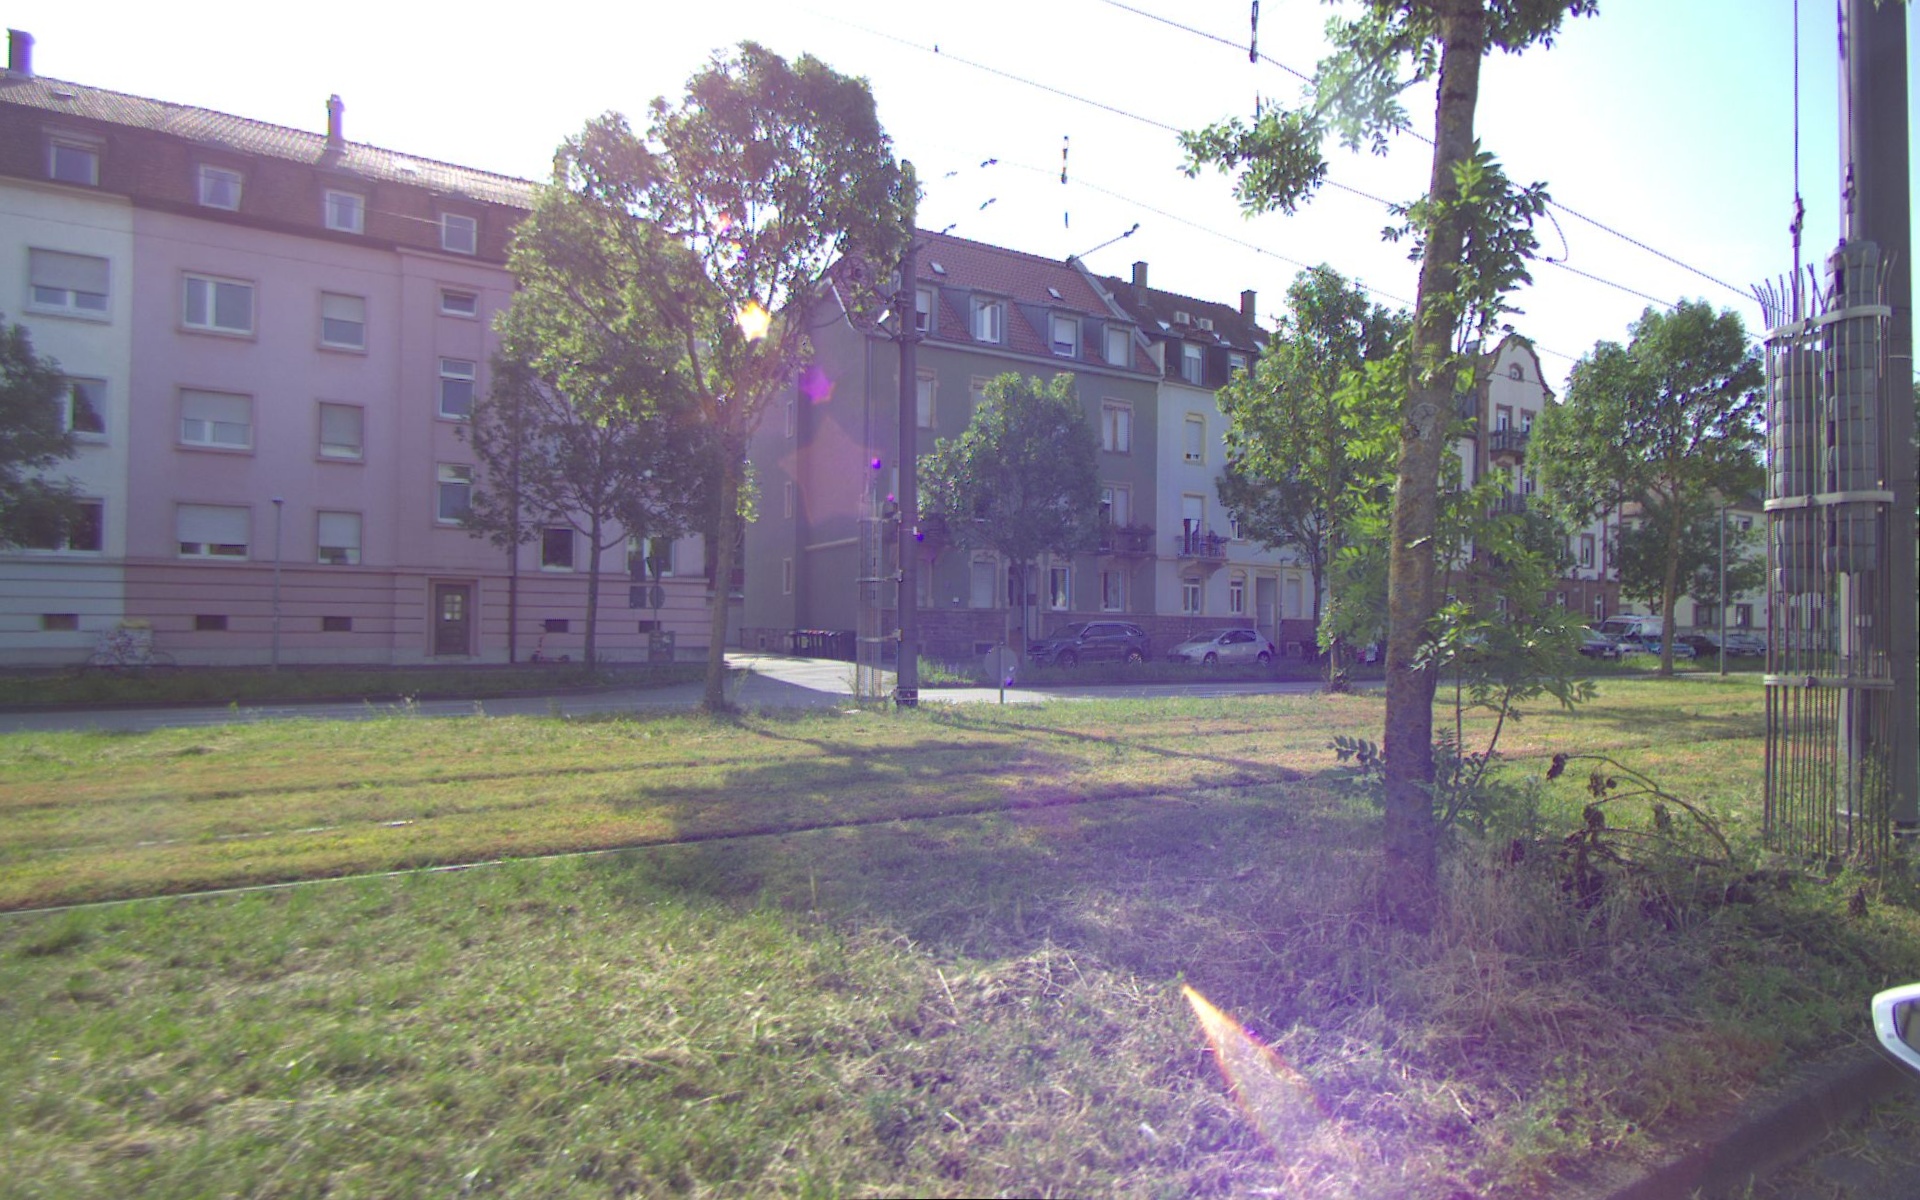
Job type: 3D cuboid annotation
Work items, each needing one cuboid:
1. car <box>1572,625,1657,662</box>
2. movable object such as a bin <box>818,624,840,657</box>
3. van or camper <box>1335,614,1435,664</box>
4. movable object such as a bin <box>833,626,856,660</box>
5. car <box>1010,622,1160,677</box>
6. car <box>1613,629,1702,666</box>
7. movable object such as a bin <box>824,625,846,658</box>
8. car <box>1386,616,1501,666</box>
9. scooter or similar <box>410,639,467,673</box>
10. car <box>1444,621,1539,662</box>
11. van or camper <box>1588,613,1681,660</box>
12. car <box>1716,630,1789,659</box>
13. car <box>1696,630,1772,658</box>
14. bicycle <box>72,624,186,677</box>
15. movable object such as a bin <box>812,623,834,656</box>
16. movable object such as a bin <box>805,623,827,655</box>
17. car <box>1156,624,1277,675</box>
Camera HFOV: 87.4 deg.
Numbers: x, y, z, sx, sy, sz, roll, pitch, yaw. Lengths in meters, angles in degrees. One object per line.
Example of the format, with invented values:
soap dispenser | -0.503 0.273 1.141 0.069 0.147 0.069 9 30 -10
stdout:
car | 30.257 1.976 46.582 1.545 1.436 4.002 2 0 5
movable object such as a bin | -4.997 1.541 38.284 0.633 1.227 0.582 2 1 -31
van or camper | 16.216 1.451 38.629 1.962 1.645 4.852 2 0 3
movable object such as a bin | -4.263 1.577 37.141 0.633 1.227 0.582 2 1 -31
car | 4.180 1.612 33.301 4.721 1.650 1.983 2 1 -32
car | 32.662 2.188 47.149 1.545 1.436 4.001 2 0 4
movable object such as a bin | -4.700 1.556 37.729 0.633 1.227 0.582 2 1 -31
car | 18.855 1.529 39.463 2.016 1.645 5.222 2 0 1
scooter or similar | -13.535 1.455 26.080 1.202 0.823 0.603 2 1 -19
car | 21.623 1.647 41.085 1.935 1.438 4.479 2 0 8
van or camper | 40.341 2.180 60.012 6.283 2.601 2.029 2 1 -31
car | 41.435 2.311 52.596 1.467 1.344 3.166 2 0 4
car | 38.700 2.170 50.297 1.467 1.176 3.165 2 0 3
bicycle | -19.081 1.157 23.117 1.925 1.143 0.601 2 1 -31
movable object such as a bin | -5.304 1.525 38.824 0.633 1.227 0.582 2 1 -31
movable object such as a bin | -5.659 1.529 39.415 0.633 1.227 0.582 2 1 -31
car | 9.261 1.764 36.211 4.110 1.650 1.879 2 1 -32
